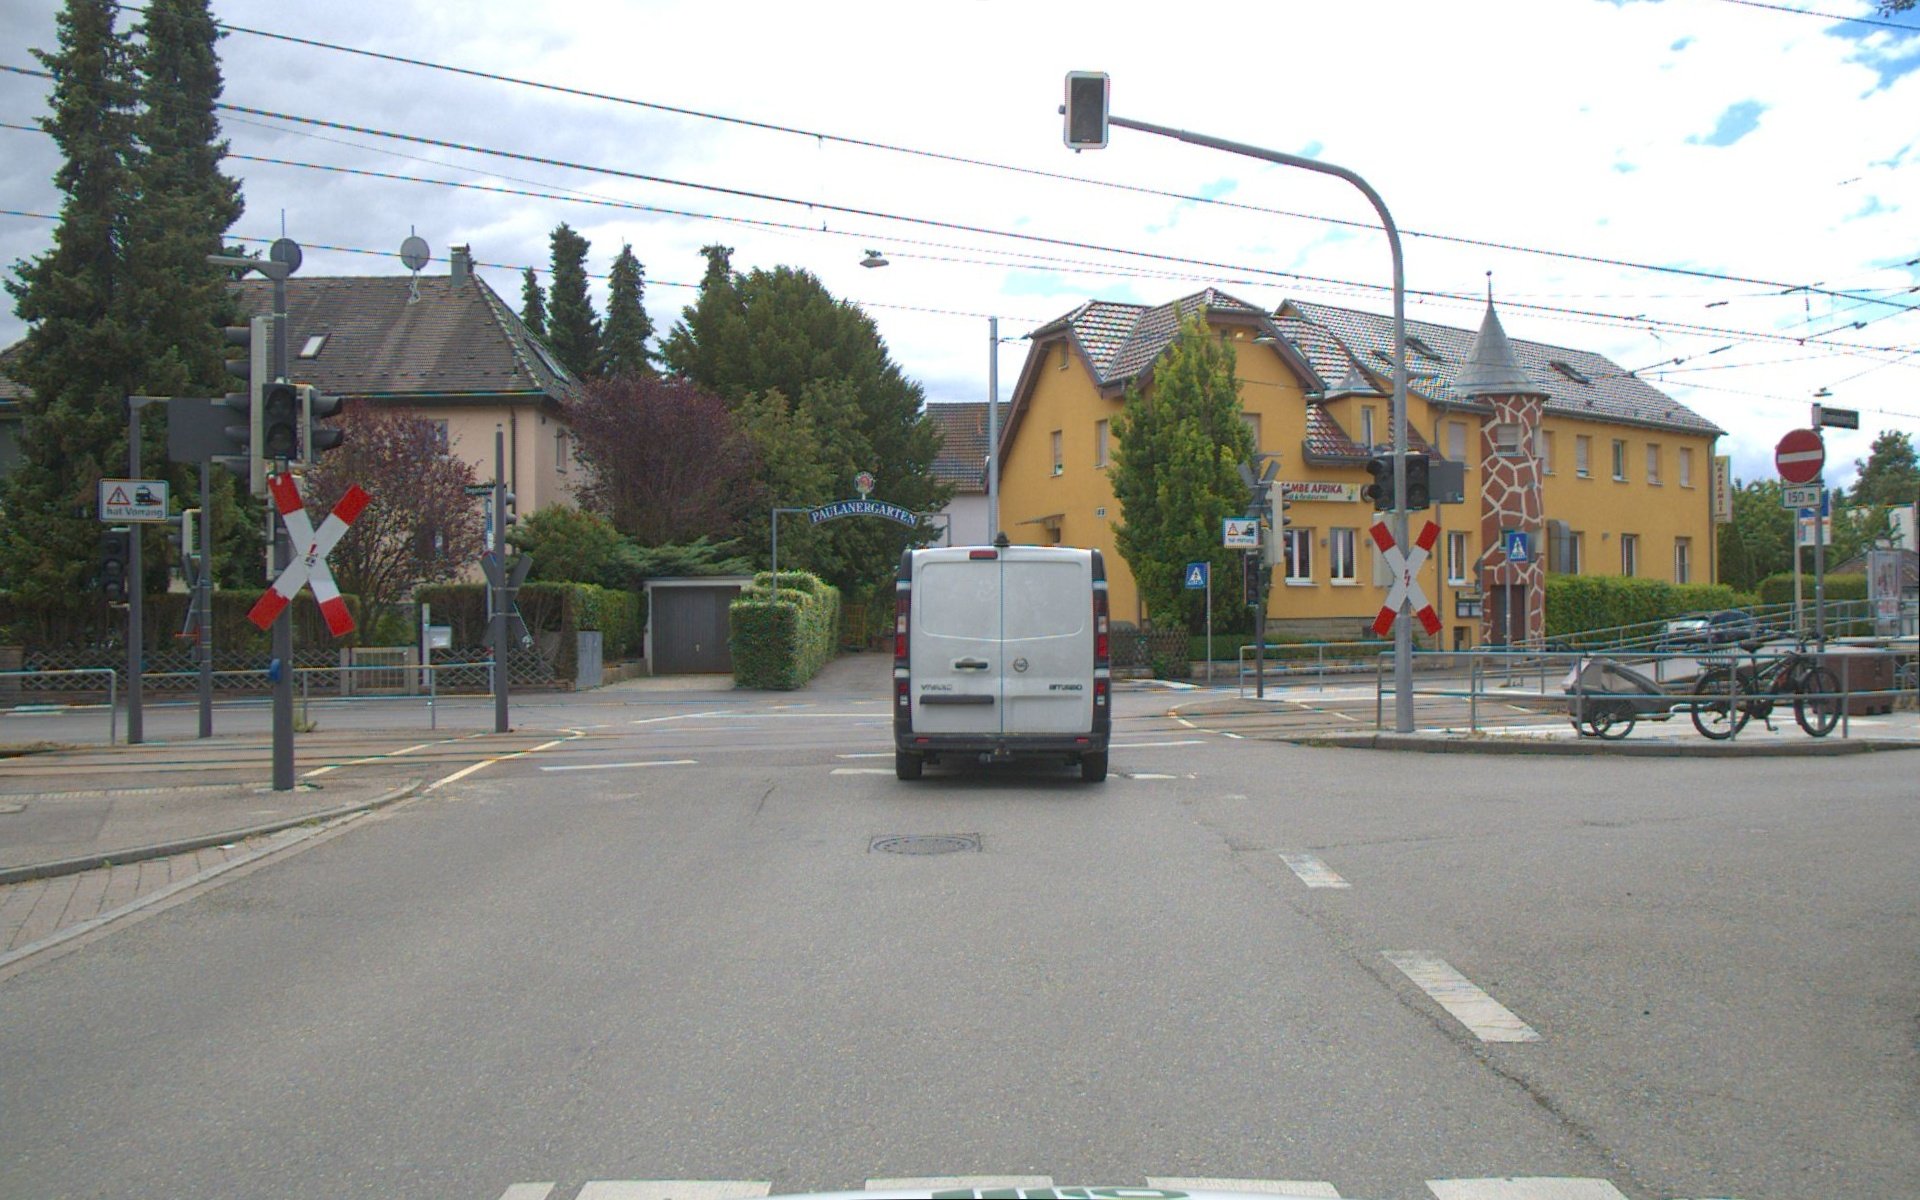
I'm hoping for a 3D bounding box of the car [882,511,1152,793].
[{"bbox_3d":[0.316,0.420,15.518,2.075,2.171,5.437,0,0,-3],"label":"car"}]

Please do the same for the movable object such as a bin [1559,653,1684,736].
[{"bbox_3d":[6.953,0.985,17.404,1.070,0.839,0.579,0,-1,-6],"label":"movable object such as a bin"}]

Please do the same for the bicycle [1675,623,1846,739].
[{"bbox_3d":[8.457,0.844,17.483,1.656,1.176,0.465,-1,-1,-10],"label":"bicycle"}]

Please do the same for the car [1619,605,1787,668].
[{"bbox_3d":[19.860,0.958,44.184,4.325,1.591,2.332,1,-1,-37],"label":"car"}]
